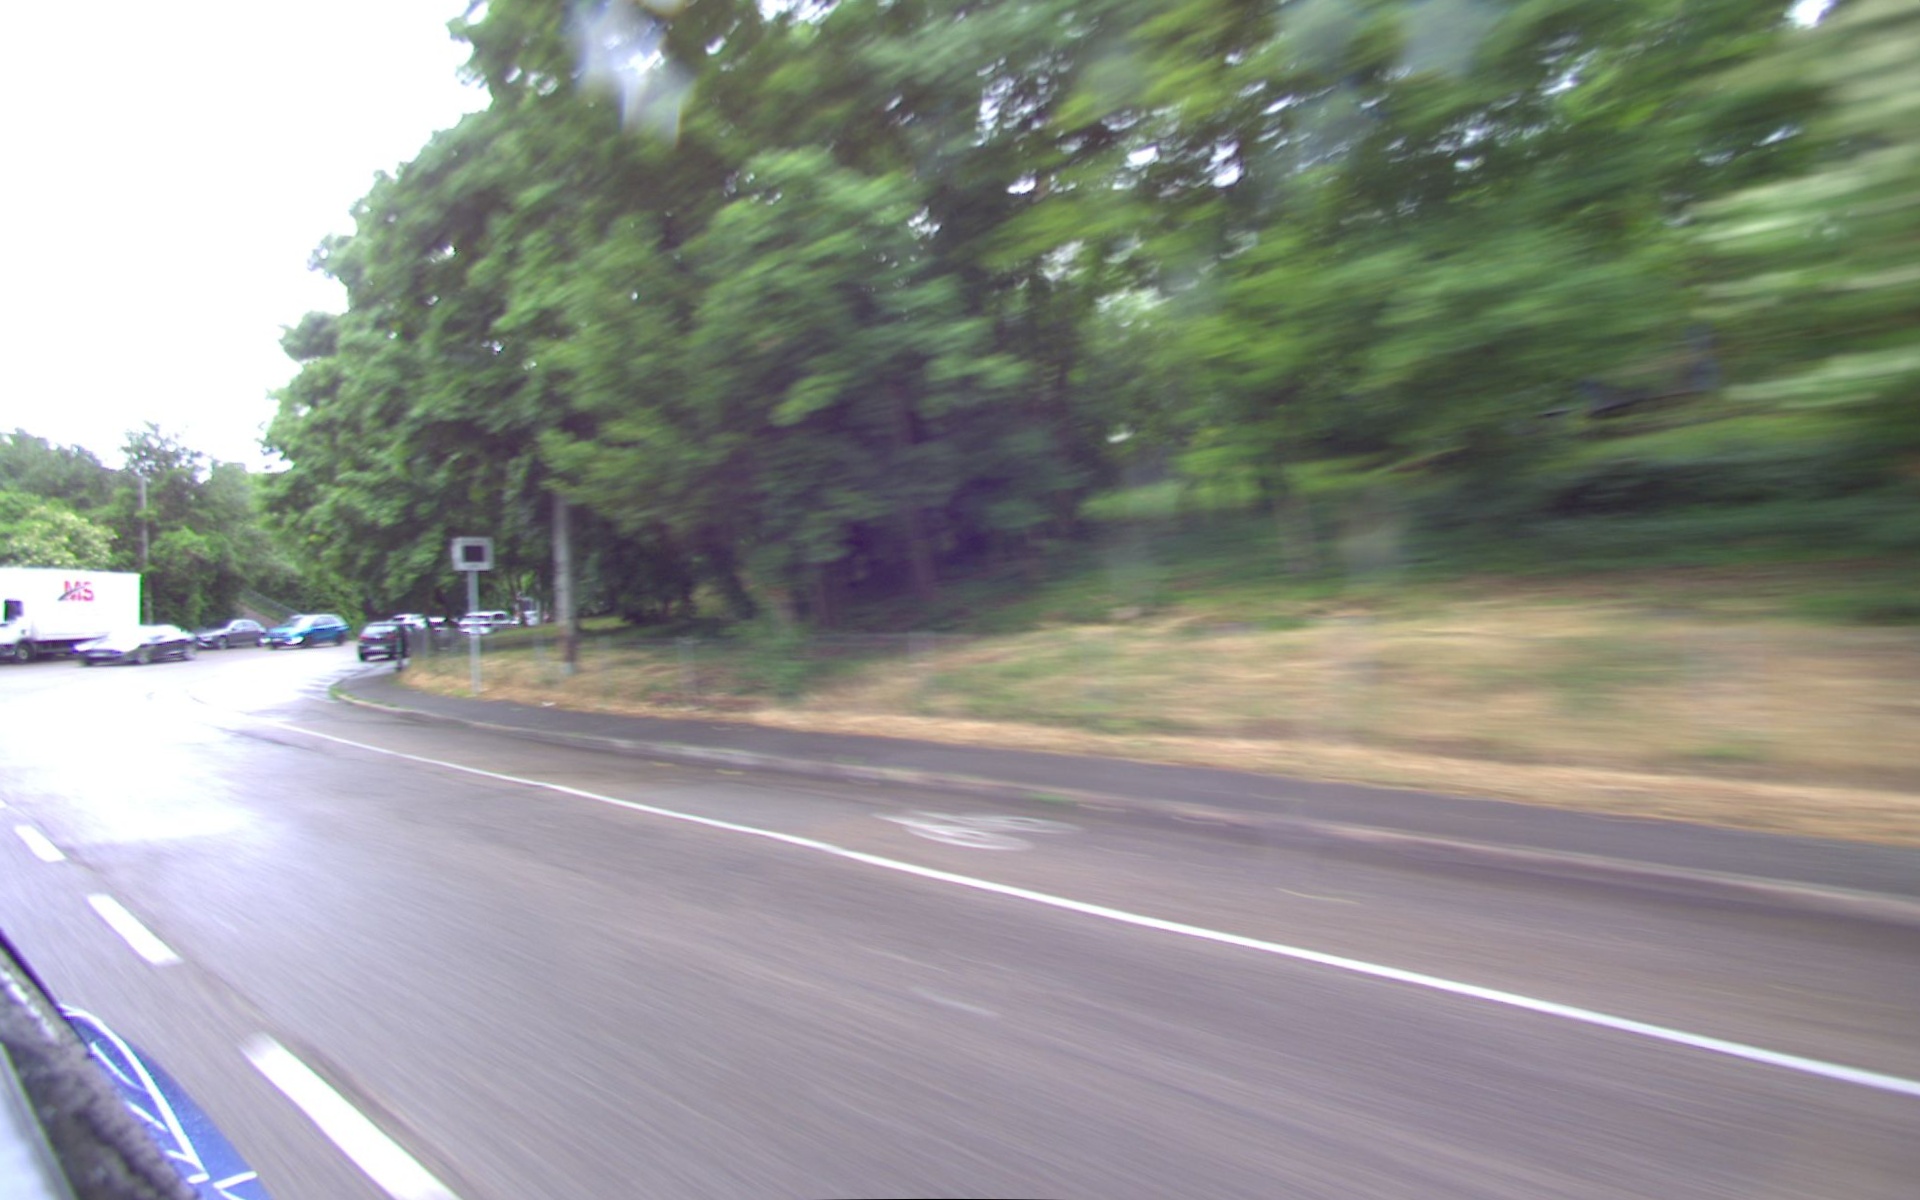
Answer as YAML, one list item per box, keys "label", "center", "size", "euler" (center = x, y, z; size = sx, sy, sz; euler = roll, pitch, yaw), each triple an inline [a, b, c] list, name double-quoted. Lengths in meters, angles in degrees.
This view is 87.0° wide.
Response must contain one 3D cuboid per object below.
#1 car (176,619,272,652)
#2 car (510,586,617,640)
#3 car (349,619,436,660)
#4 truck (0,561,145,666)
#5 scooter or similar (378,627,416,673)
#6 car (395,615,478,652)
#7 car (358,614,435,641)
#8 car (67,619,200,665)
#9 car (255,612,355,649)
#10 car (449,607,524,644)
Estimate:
- label: "car"
  center: [-36.082, 1.706, 49.749]
  size: [1.702, 1.455, 4.123]
  euler: [-1, -1, 1]
- label: "car"
  center: [-22.350, 0.647, 57.358]
  size: [2.063, 2.567, 6.314]
  euler: [8, 4, 15]
- label: "car"
  center: [-22.527, 1.542, 40.334]
  size: [1.750, 1.454, 4.024]
  euler: [-1, 0, -10]
- label: "truck"
  center: [-35.079, 0.497, 38.317]
  size: [2.967, 3.601, 8.355]
  euler: [-1, 0, -11]
- label: "scooter or similar"
  center: [-17.032, 1.502, 30.623]
  size: [0.600, 1.277, 1.442]
  euler: [-4, 1, -15]
- label: "car"
  center: [-23.351, 1.467, 45.326]
  size: [1.732, 1.467, 4.049]
  euler: [-1, 0, -2]
- label: "car"
  center: [-34.598, 1.676, 62.268]
  size: [1.745, 1.411, 4.075]
  euler: [-4, -1, 16]
- label: "car"
  center: [-30.471, 1.517, 37.513]
  size: [1.869, 1.551, 4.509]
  euler: [-1, -1, -10]
- label: "car"
  center: [-31.980, 1.482, 49.593]
  size: [1.972, 1.683, 4.529]
  euler: [-1, -1, 1]
- label: "car"
  center: [-23.472, 1.219, 50.340]
  size: [1.785, 1.594, 4.024]
  euler: [-1, 2, 1]
